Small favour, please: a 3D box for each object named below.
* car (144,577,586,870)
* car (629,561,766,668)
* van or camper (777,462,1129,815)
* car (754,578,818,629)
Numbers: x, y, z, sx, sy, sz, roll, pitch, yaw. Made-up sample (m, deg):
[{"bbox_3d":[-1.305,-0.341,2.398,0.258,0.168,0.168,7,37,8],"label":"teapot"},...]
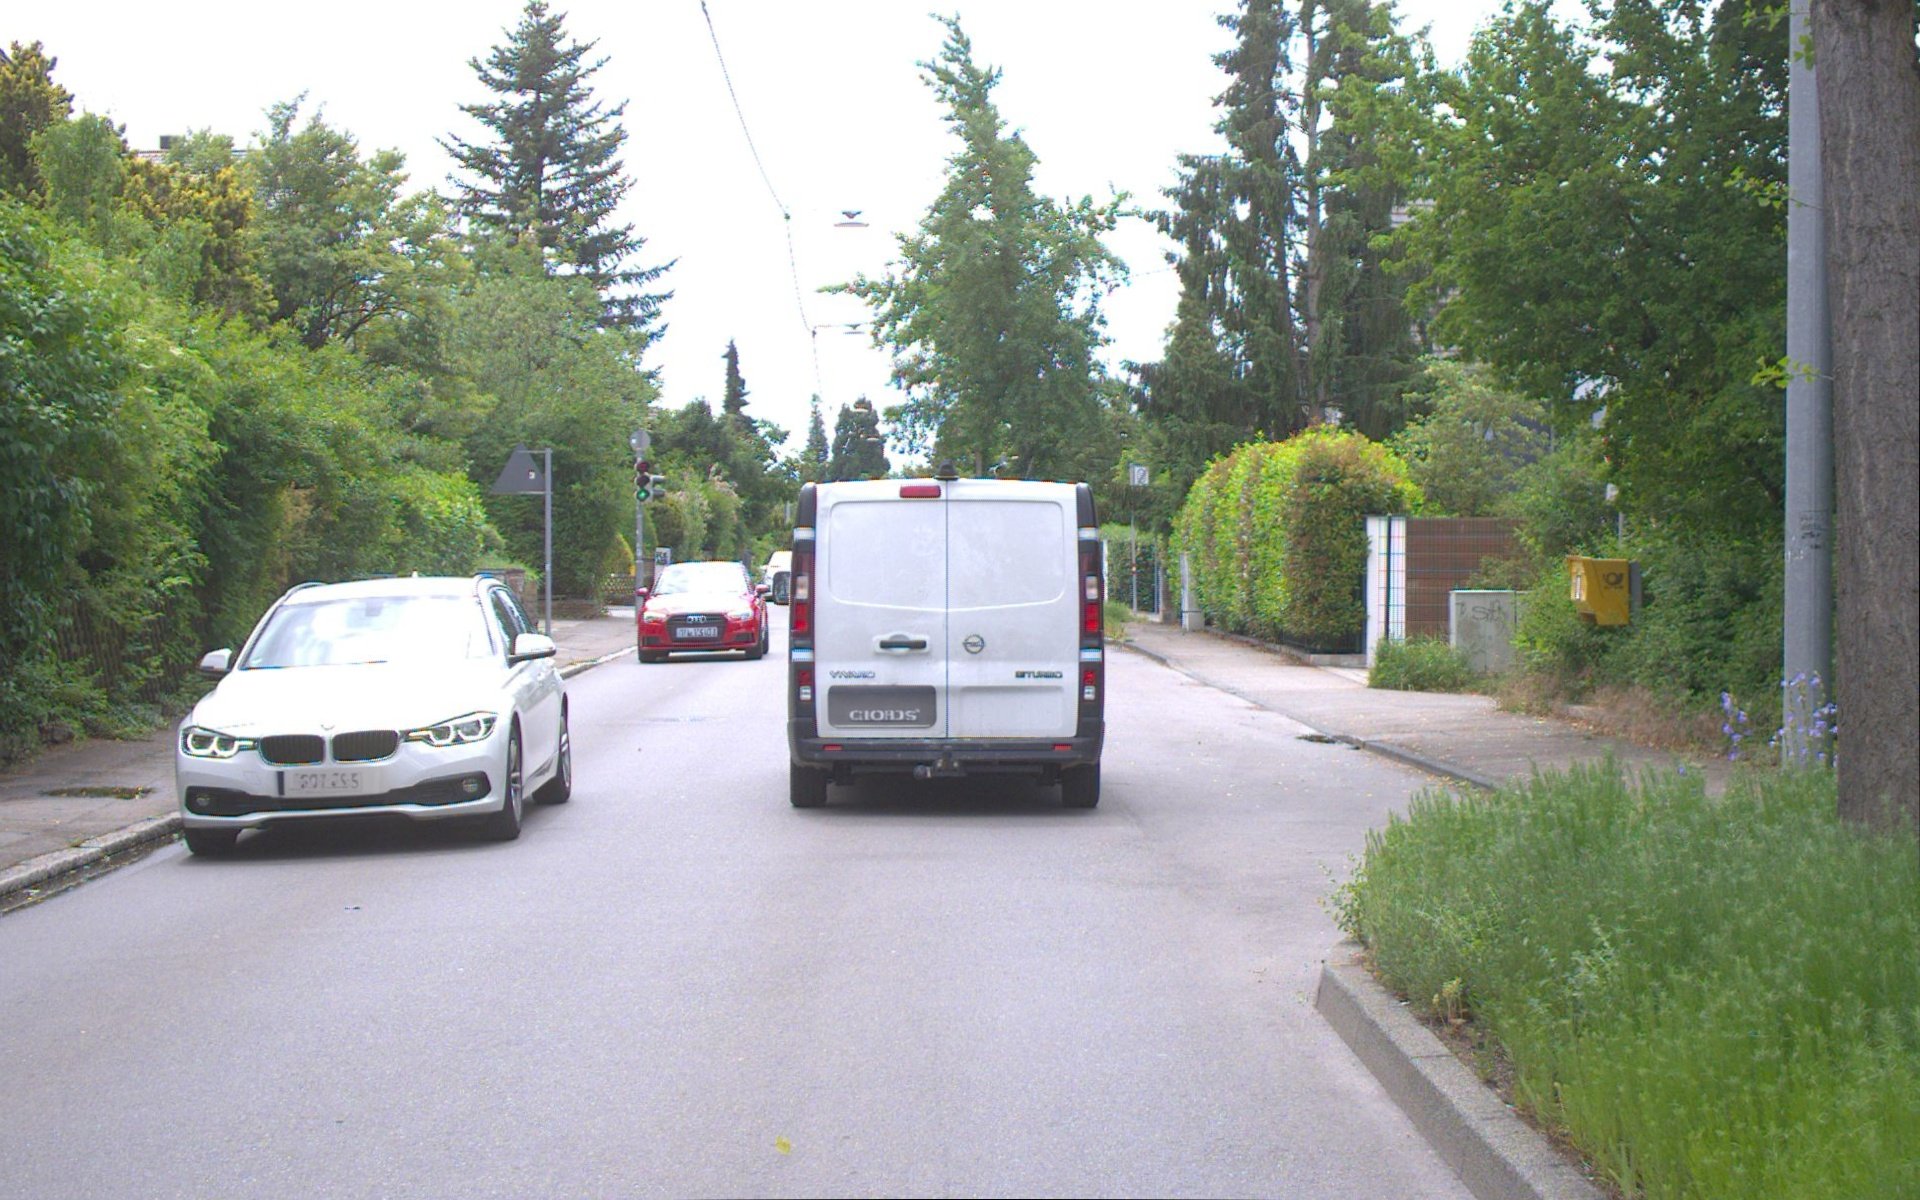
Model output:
[{"bbox_3d":[-3.290,0.620,19.805,1.805,1.426,4.301,-3,0,-1],"label":"car"},{"bbox_3d":[-3.839,0.194,50.872,1.805,1.426,4.119,-3,0,-2],"label":"car"},{"bbox_3d":[-0.113,0.247,21.746,1.939,1.947,4.765,1,-1,-2],"label":"van or camper"},{"bbox_3d":[-5.281,0.092,104.524,1.854,1.446,4.282,-2,1,-3],"label":"car"}]
